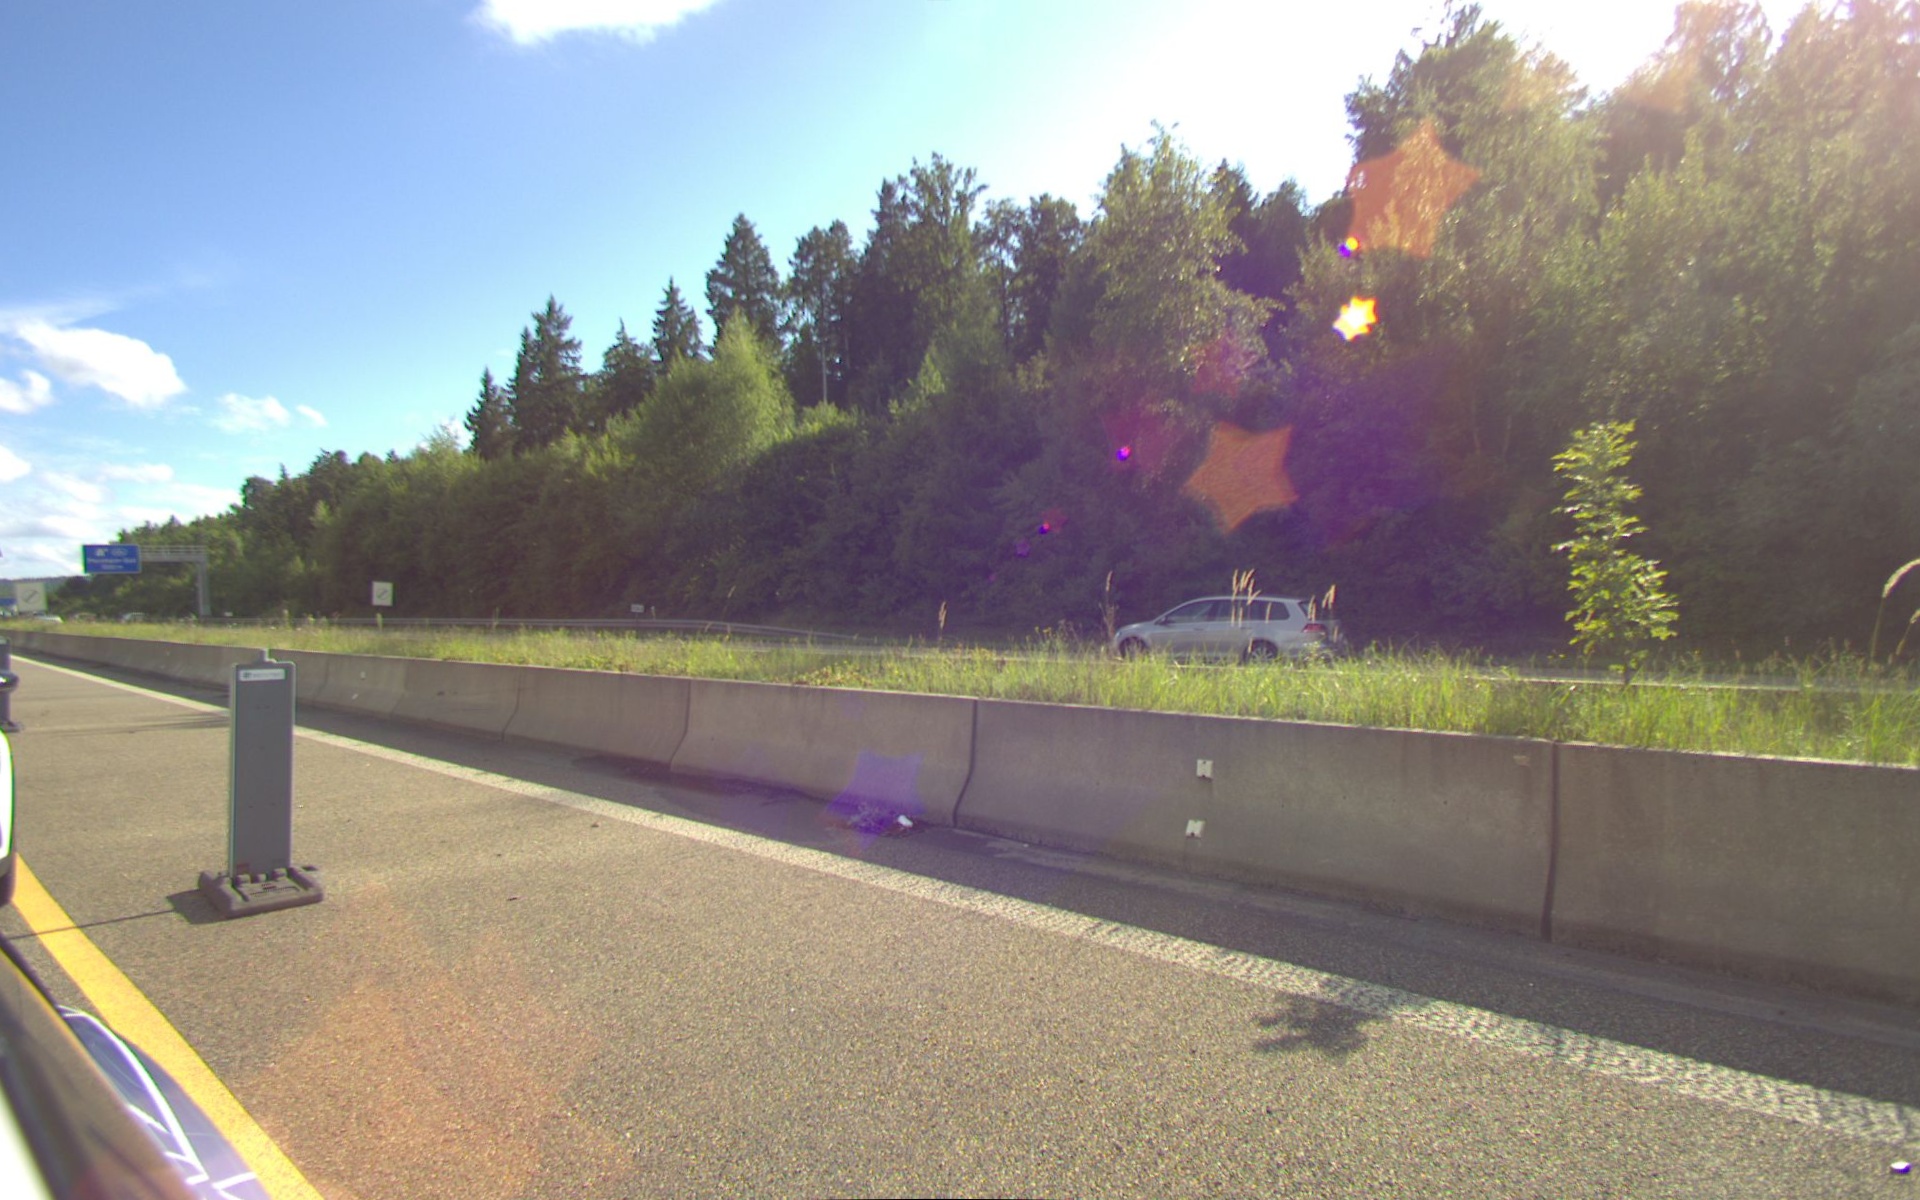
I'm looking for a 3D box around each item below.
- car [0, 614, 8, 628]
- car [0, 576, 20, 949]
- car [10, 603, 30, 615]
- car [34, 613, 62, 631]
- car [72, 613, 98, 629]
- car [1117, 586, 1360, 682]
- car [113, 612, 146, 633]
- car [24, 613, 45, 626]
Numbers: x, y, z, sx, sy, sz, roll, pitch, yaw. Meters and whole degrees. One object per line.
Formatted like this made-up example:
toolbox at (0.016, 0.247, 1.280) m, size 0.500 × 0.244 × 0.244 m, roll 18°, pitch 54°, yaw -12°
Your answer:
car at (-139.655, 3.000, 146.757) m, size 3.998 × 2.029 × 1.973 m, roll -1°, pitch 0°, yaw 41°
car at (-6.206, 0.731, 5.093) m, size 4.016 × 1.614 × 1.759 m, roll -1°, pitch 0°, yaw 41°
car at (-154.314, 1.481, 166.107) m, size 3.998 × 2.029 × 1.973 m, roll -1°, pitch 0°, yaw 41°
car at (-107.612, 2.591, 119.392) m, size 3.998 × 2.029 × 1.973 m, roll -1°, pitch 0°, yaw 41°
car at (-110.991, 2.632, 128.390) m, size 3.998 × 2.029 × 1.973 m, roll -1°, pitch 0°, yaw 41°
car at (5.118, 0.578, 18.871) m, size 4.016 × 1.614 × 1.759 m, roll -1°, pitch 0°, yaw 41°
car at (-83.566, 2.283, 101.826) m, size 3.998 × 2.029 × 1.973 m, roll -1°, pitch 0°, yaw 41°
car at (-145.853, 3.077, 159.470) m, size 3.998 × 2.029 × 1.973 m, roll -1°, pitch 0°, yaw 41°
